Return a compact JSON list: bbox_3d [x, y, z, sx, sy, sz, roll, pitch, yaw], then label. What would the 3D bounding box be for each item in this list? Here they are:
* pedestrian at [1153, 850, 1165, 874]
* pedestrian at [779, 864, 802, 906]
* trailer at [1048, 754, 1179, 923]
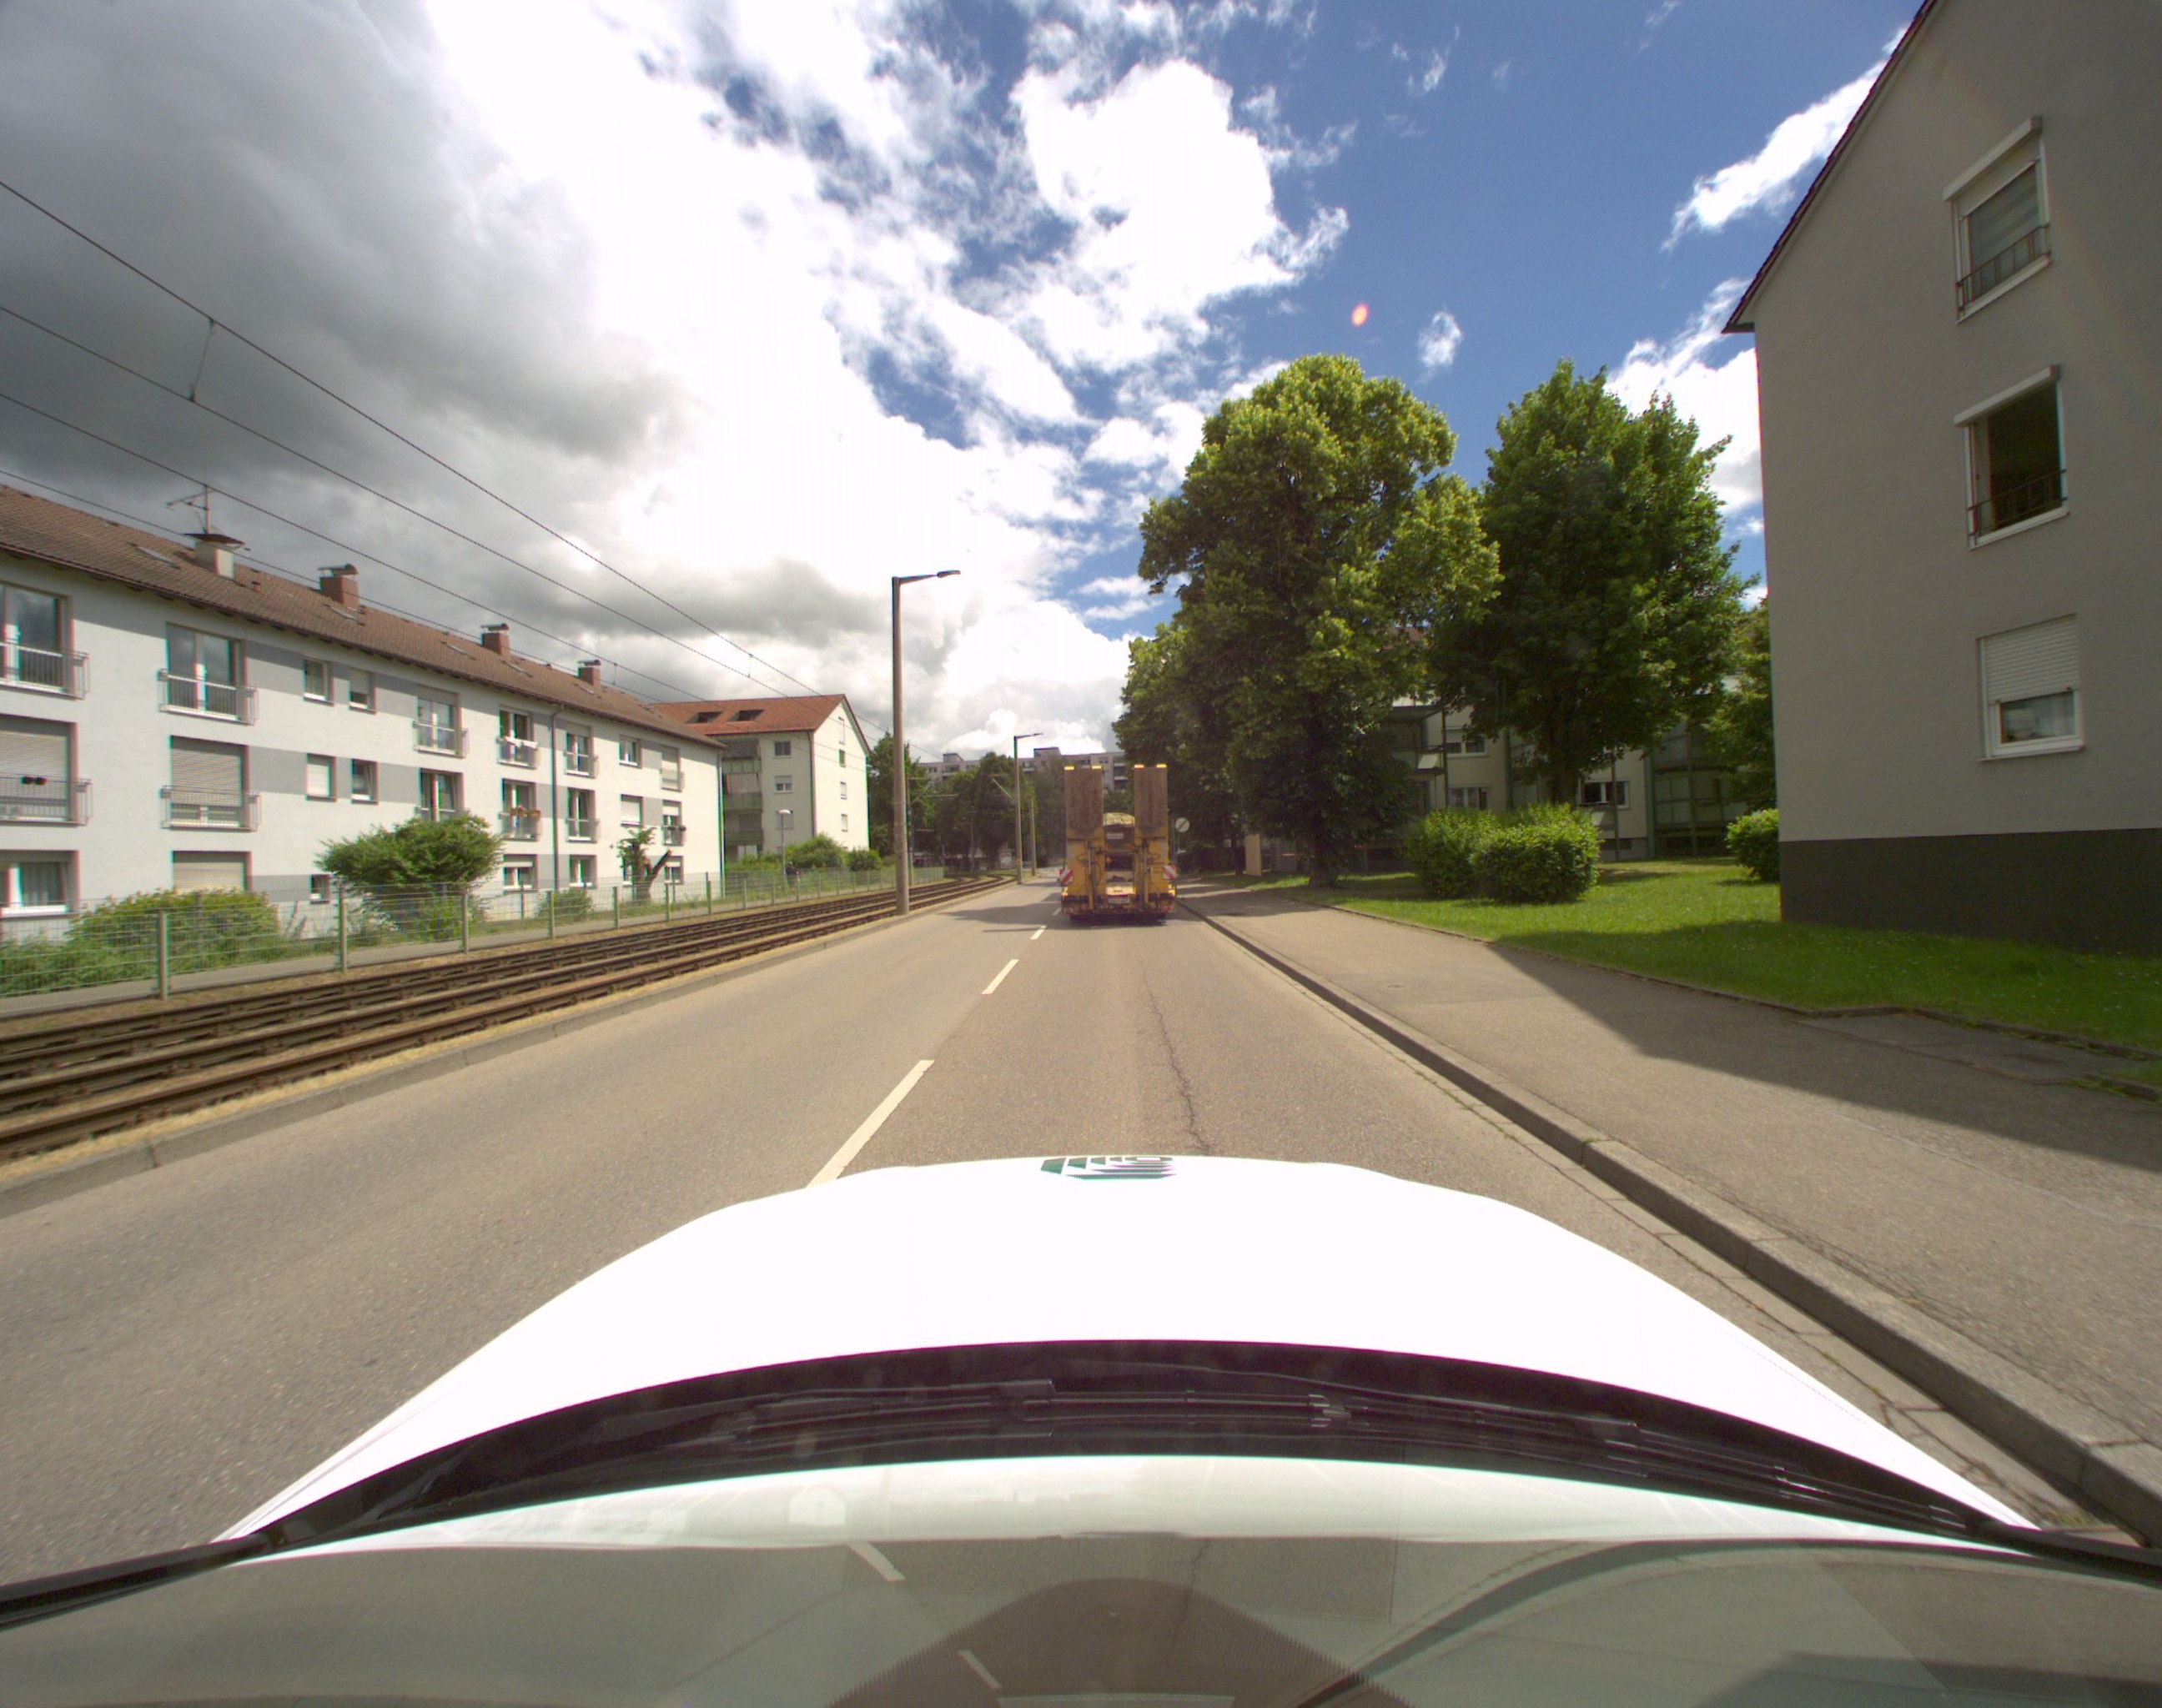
[{"bbox_3d":[5.786,0.570,60.296,0.715,1.706,0.766,-3,0,1],"label":"pedestrian"},{"bbox_3d":[-13.252,1.388,37.144,0.657,1.849,0.769,-3,0,1],"label":"pedestrian"},{"bbox_3d":[0.834,-0.337,23.854,2.817,3.646,12.356,0,0,1],"label":"trailer"}]
